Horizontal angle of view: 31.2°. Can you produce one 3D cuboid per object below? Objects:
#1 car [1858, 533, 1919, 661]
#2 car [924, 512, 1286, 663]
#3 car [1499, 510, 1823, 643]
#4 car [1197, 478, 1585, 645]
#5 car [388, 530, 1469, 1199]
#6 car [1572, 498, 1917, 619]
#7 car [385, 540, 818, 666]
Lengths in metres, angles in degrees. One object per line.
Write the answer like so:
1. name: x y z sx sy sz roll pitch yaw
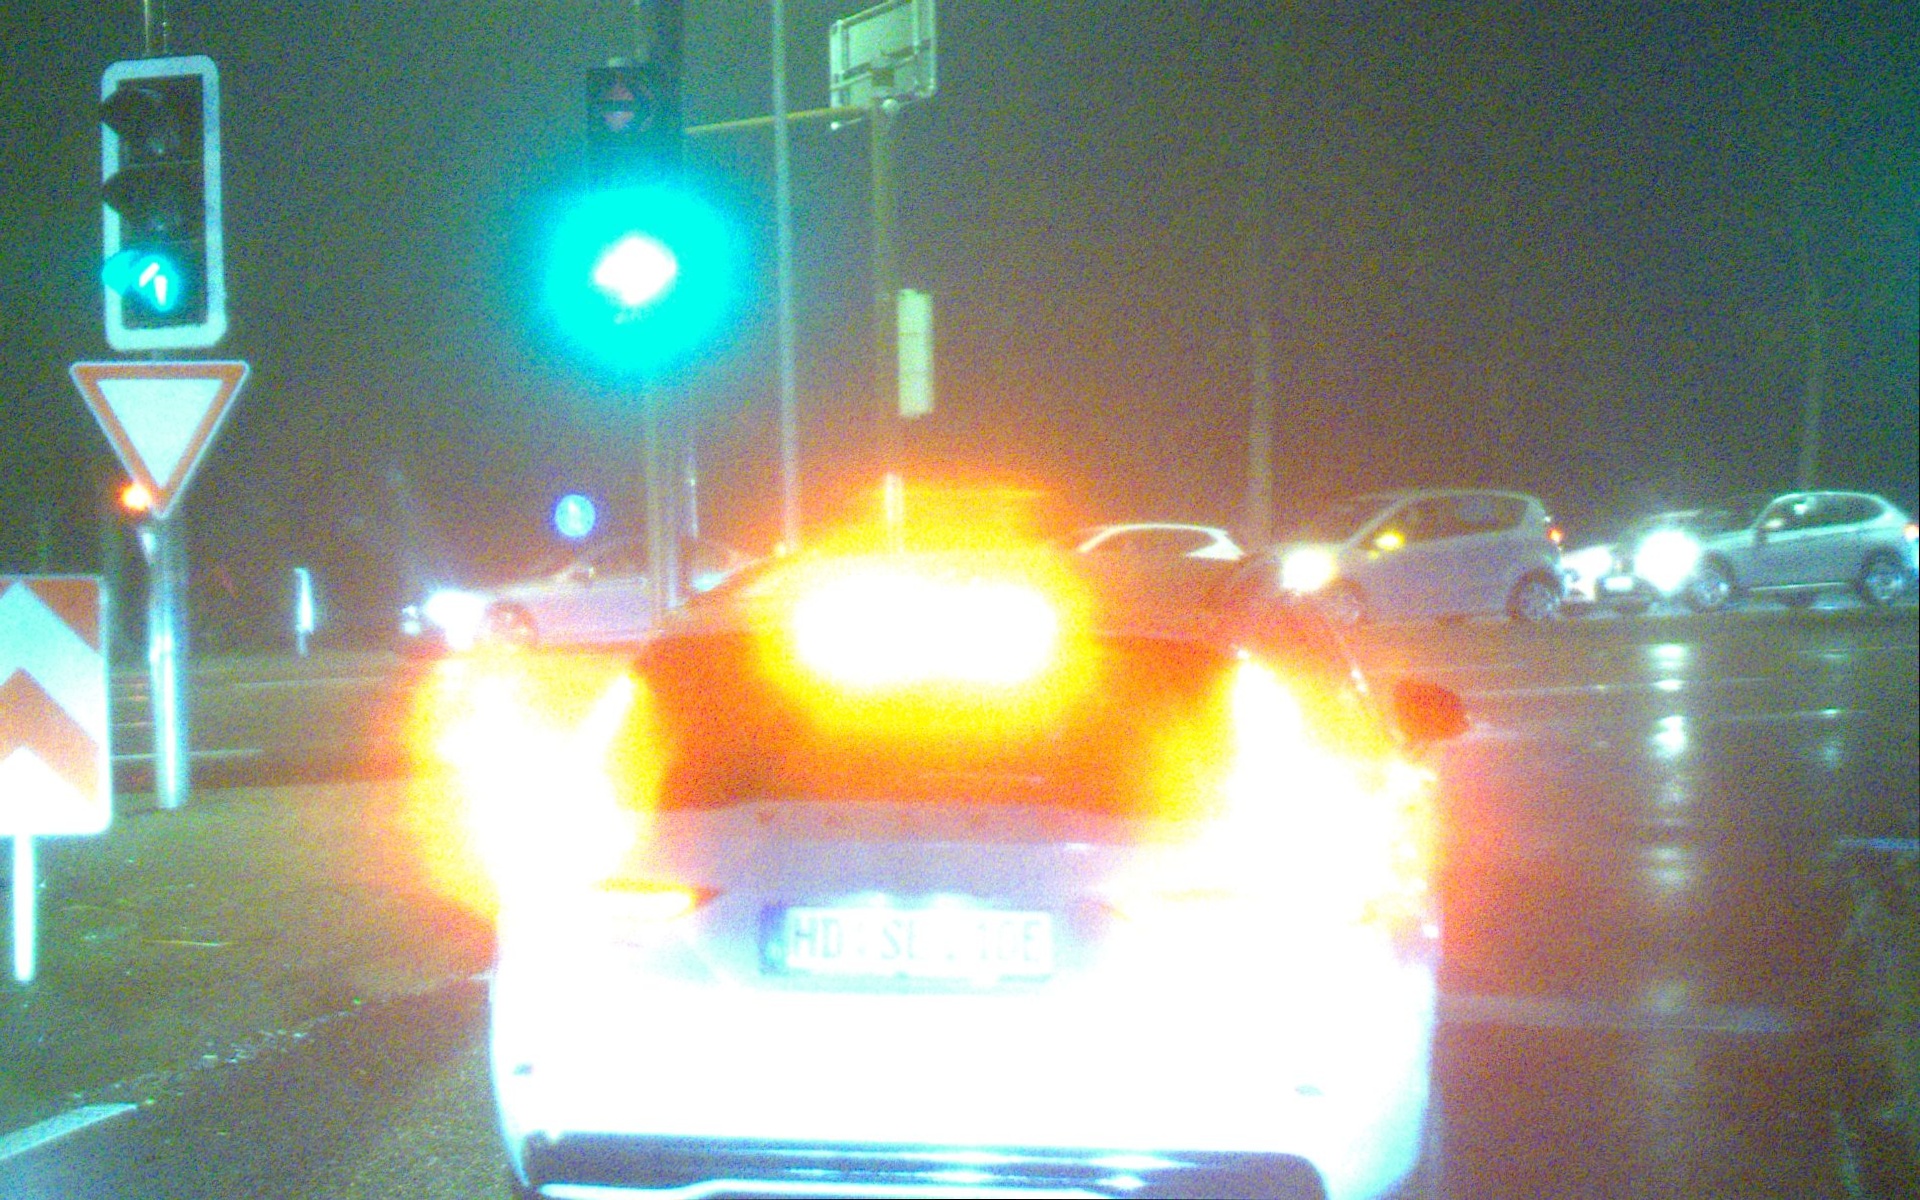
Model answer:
1. car: 15.468 -0.046 50.789 4.110 1.842 1.766 0 0 -27
2. car: 1.854 -0.164 43.721 4.270 1.842 1.766 0 0 -27
3. car: 9.817 -0.326 48.112 4.236 1.793 1.804 0 0 -27
4. car: 4.765 -0.451 37.966 3.888 1.719 1.766 -2 2 -25
5. car: 0.235 0.588 7.935 1.797 1.447 4.267 0 2 9
6. car: 9.989 -0.516 43.770 4.043 1.482 1.718 0 0 -23
7. car: -4.231 0.026 40.703 4.786 1.422 1.766 0 0 -26
